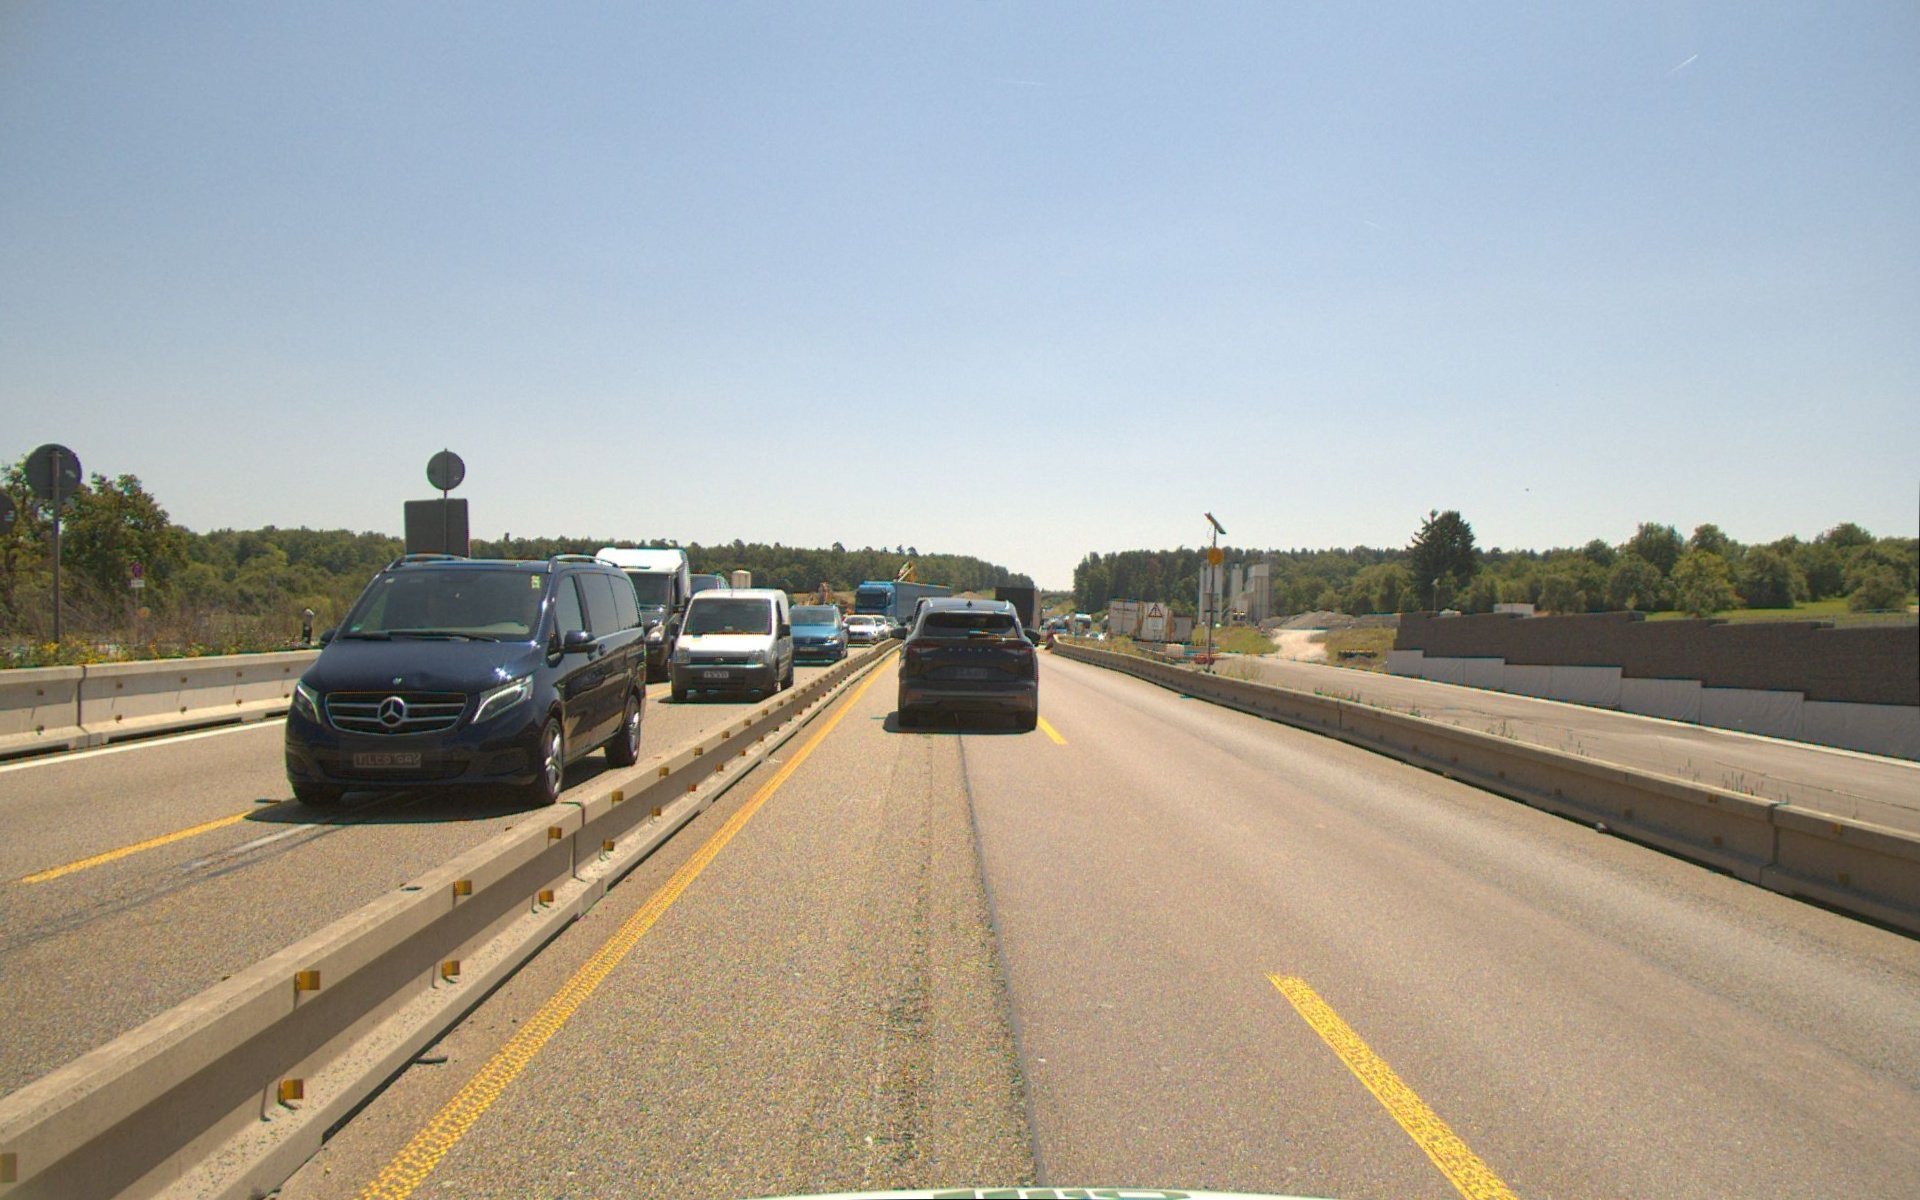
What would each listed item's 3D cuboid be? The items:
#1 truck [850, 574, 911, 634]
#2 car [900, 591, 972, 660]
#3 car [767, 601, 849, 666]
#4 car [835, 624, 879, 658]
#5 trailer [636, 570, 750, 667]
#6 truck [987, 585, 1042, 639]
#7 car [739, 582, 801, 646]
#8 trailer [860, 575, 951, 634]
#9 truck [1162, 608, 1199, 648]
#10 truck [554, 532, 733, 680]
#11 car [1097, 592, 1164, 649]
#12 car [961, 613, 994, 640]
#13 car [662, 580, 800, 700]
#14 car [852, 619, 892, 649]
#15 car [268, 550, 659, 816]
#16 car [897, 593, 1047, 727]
[{"bbox_3d":[-5.690,0.320,119.118,2.852,4.201,6.143,1,-1,12],"label":"truck"},{"bbox_3d":[-0.746,0.736,49.014,1.953,1.876,3.998,3,-1,-2],"label":"car"},{"bbox_3d":[-4.109,0.886,45.273,1.866,1.637,4.000,1,0,-1],"label":"car"},{"bbox_3d":[-4.617,1.840,74.653,1.779,1.400,4.246,-1,0,-1],"label":"car"},{"bbox_3d":[-6.873,0.457,43.256,2.137,2.355,5.613,0,0,-1],"label":"trailer"},{"bbox_3d":[3.233,0.656,96.781,2.616,2.997,5.625,1,0,7],"label":"truck"},{"bbox_3d":[-7.756,0.560,68.161,1.875,2.441,6.450,-2,0,-1],"label":"car"},{"bbox_3d":[-3.947,0.394,125.650,2.852,4.201,13.925,1,-1,15],"label":"trailer"},{"bbox_3d":[26.214,3.352,196.314,3.403,4.292,10.384,6,0,11],"label":"truck"},{"bbox_3d":[-6.741,0.151,36.385,2.429,2.874,8.127,0,0,-1],"label":"truck"},{"bbox_3d":[14.188,1.790,136.928,3.366,4.171,9.200,5,-1,17],"label":"car"},{"bbox_3d":[1.174,1.735,108.460,1.783,1.673,3.867,3,-1,5],"label":"car"},{"bbox_3d":[-3.829,0.607,28.367,1.816,1.872,4.590,1,1,-1],"label":"car"},{"bbox_3d":[-4.747,1.822,89.693,1.975,1.470,4.586,1,1,-1],"label":"car"},{"bbox_3d":[-3.915,0.556,14.047,1.868,1.836,5.080,1,1,-1],"label":"car"},{"bbox_3d":[0.144,0.746,22.090,1.805,1.609,3.999,1,0,0],"label":"car"}]
